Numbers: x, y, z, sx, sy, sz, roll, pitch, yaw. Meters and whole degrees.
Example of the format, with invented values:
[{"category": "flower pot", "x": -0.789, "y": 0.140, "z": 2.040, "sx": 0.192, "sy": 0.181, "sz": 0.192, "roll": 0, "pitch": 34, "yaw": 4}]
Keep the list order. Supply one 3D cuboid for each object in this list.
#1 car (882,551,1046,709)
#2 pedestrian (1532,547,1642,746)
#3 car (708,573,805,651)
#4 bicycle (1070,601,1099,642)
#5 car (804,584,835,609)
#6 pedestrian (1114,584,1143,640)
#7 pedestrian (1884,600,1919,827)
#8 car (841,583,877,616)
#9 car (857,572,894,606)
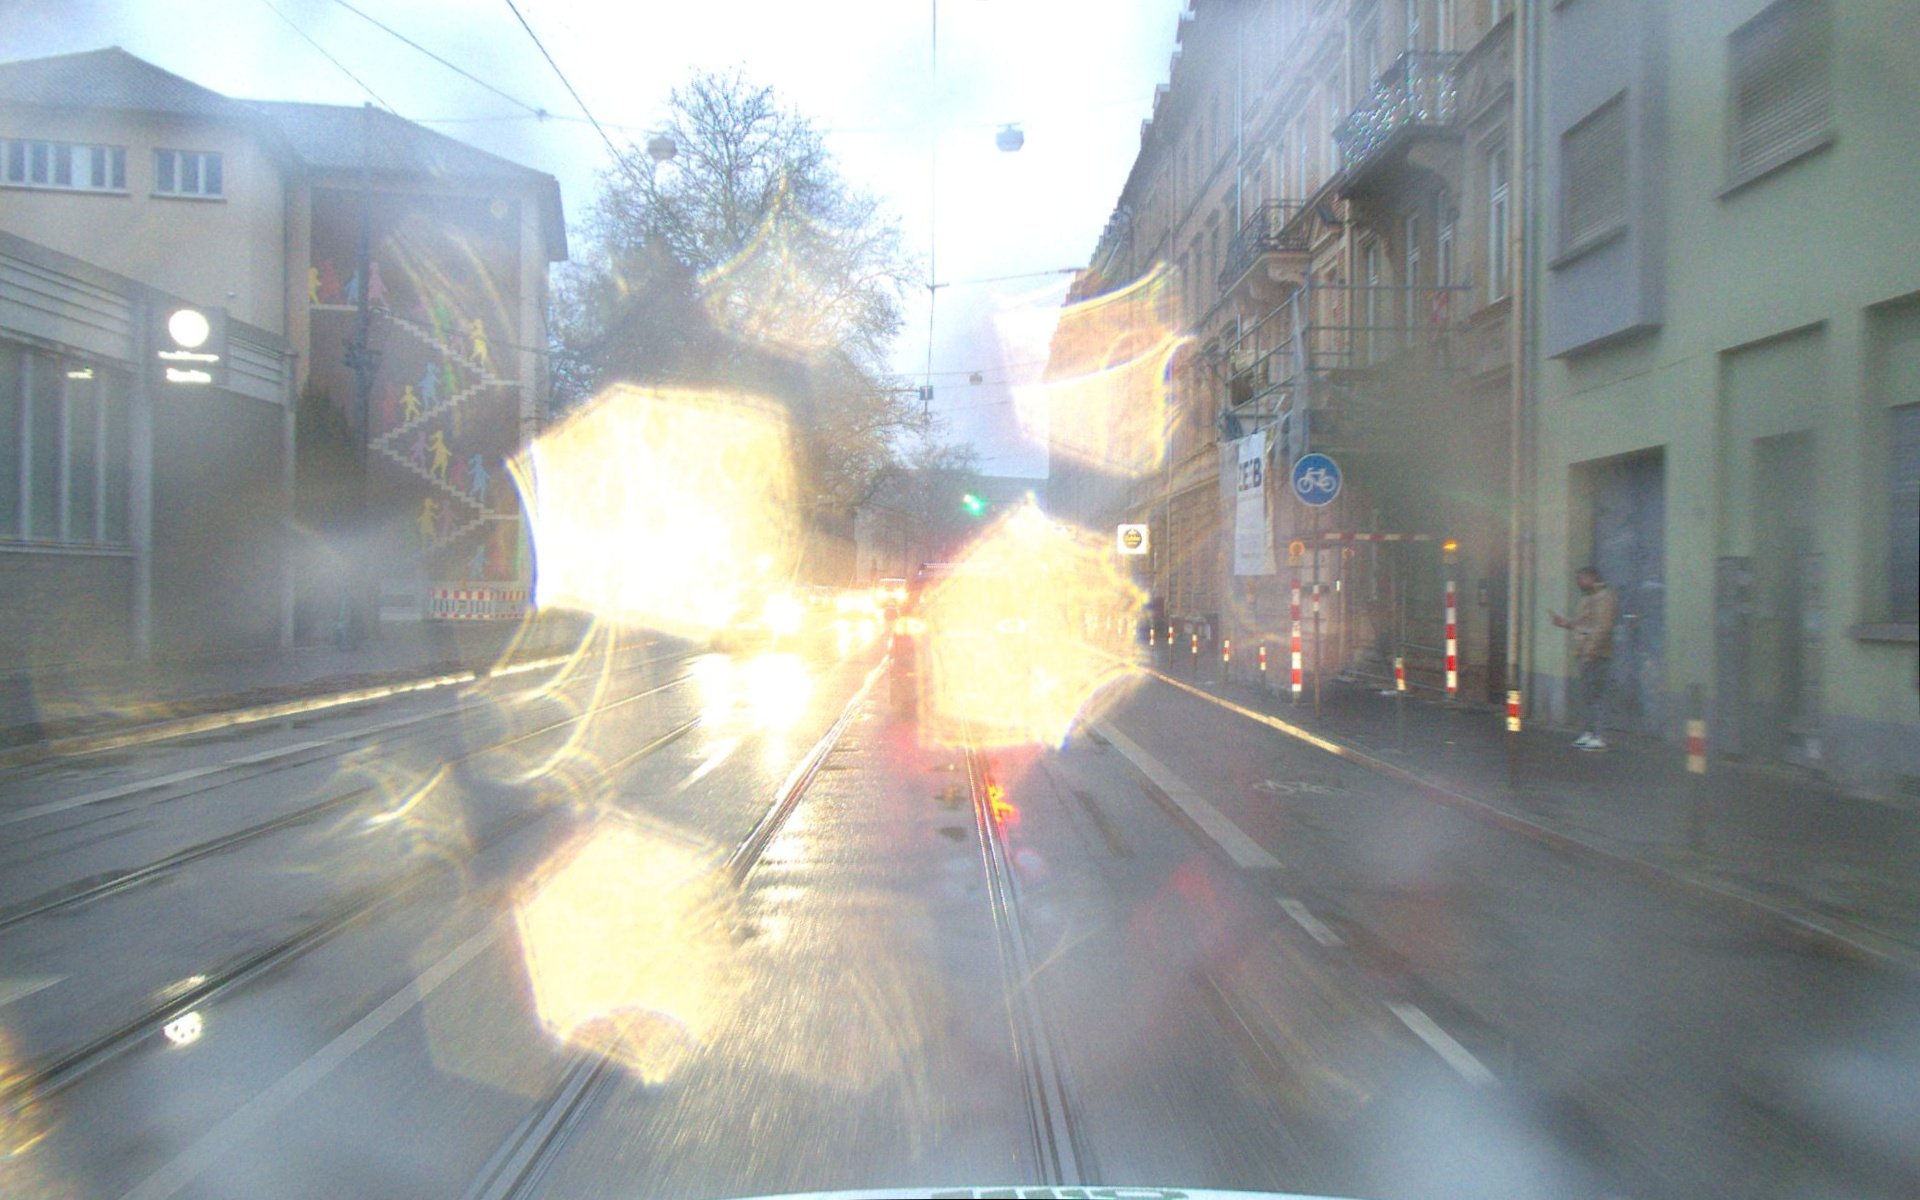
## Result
[{"category": "car", "x": 0.122, "y": 0.355, "z": 21.970, "sx": 1.952, "sy": 1.874, "sz": 4.001, "roll": 1, "pitch": 0, "yaw": 2}, {"category": "pedestrian", "x": 5.979, "y": 0.433, "z": 15.794, "sx": 0.592, "sy": 1.850, "sz": 0.769, "roll": 1, "pitch": -1, "yaw": -28}, {"category": "car", "x": -4.790, "y": 0.252, "z": 39.551, "sx": 1.837, "sy": 1.739, "sz": 4.759, "roll": 0, "pitch": 0, "yaw": -1}, {"category": "bicycle", "x": 3.688, "y": 0.634, "z": 49.146, "sx": 0.670, "sy": 1.176, "sz": 2.188, "roll": 1, "pitch": 0, "yaw": 0}, {"category": "car", "x": -9.376, "y": -0.230, "z": 110.461, "sx": 1.945, "sy": 1.643, "sz": 4.425, "roll": 1, "pitch": 0, "yaw": -5}, {"category": "pedestrian", "x": 5.255, "y": 0.377, "z": 51.542, "sx": 0.817, "sy": 1.731, "sz": 0.954, "roll": 1, "pitch": 0, "yaw": 8}, {"category": "pedestrian", "x": 6.213, "y": 0.704, "z": 10.212, "sx": 0.588, "sy": 1.401, "sz": 0.728, "roll": 1, "pitch": 0, "yaw": -1}, {"category": "car", "x": -4.845, "y": -0.031, "z": 79.689, "sx": 1.499, "sy": 1.507, "sz": 3.561, "roll": 0, "pitch": 0, "yaw": 0}, {"category": "car", "x": -6.041, "y": -0.745, "z": 118.605, "sx": 2.396, "sy": 2.388, "sz": 5.844, "roll": 0, "pitch": 0, "yaw": 0}]
